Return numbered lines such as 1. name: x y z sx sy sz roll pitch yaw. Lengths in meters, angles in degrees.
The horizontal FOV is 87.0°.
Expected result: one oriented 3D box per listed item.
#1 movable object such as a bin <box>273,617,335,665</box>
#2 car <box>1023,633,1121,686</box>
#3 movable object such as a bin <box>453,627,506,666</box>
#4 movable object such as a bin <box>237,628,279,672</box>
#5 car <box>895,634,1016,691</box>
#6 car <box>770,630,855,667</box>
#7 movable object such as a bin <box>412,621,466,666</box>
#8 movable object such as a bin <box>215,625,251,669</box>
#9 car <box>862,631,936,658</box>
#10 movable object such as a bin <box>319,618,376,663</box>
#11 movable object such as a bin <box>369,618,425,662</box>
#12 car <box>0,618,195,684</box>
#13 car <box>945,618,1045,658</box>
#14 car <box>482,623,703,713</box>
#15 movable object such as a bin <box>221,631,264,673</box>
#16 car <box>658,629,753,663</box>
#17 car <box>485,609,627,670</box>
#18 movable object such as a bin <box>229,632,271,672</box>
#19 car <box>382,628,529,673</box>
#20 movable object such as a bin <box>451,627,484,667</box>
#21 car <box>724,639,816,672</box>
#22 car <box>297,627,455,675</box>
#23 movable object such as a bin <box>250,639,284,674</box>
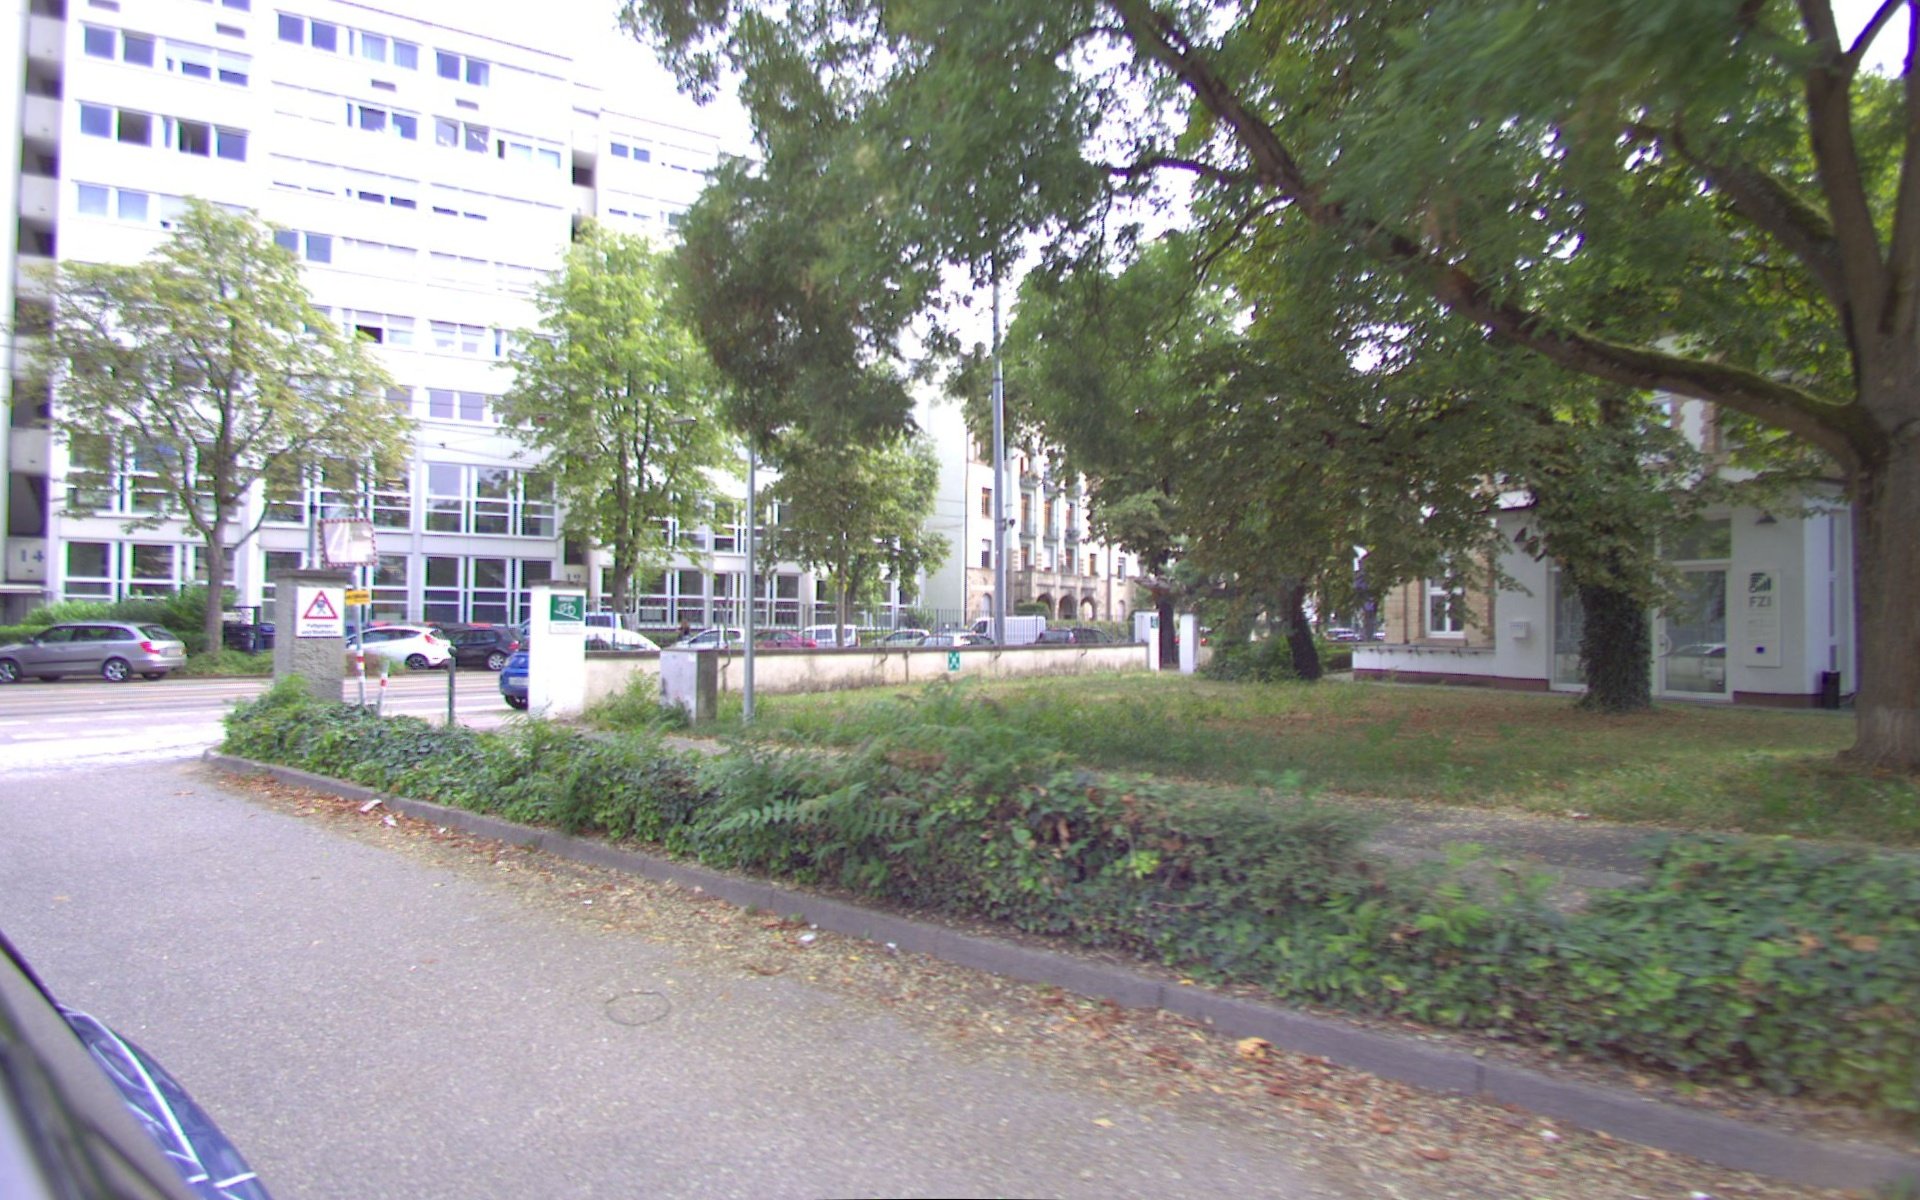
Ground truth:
1. movable object such as a bin: -21.943 1.368 33.842 1.329 1.541 1.397 -2 -3 40
2. car: 3.750 1.909 33.438 1.656 1.646 3.680 -1 -3 35
3. movable object such as a bin: -18.312 1.766 38.596 1.334 1.469 1.381 -2 -3 40
4. movable object such as a bin: -25.730 1.811 37.117 1.160 1.580 1.178 1 -3 -33
5. car: -0.067 1.702 28.168 1.630 1.476 3.531 -1 -3 35
6. car: -6.635 2.196 45.823 3.712 1.630 1.817 0 -2 -5
7. movable object such as a bin: -19.228 1.597 37.375 1.334 1.608 1.336 -2 -3 40
8. movable object such as a bin: -24.017 1.541 33.445 0.897 1.417 1.027 1 -3 -33
9. car: -3.106 2.244 51.336 3.586 1.340 1.771 0 -2 -9
10. movable object such as a bin: -21.225 1.394 35.085 1.334 1.515 1.320 -2 -3 40
11. movable object such as a bin: -20.164 1.427 36.261 1.334 1.514 1.336 -2 -3 40
12. car: -21.686 1.248 25.139 3.987 1.549 1.599 0 -2 -9
13. car: 1.915 2.136 56.946 5.356 2.192 2.151 0 -2 -5
14. car: -6.676 1.198 18.686 1.630 1.476 3.559 -1 -3 35
15. movable object such as a bin: -24.559 1.774 34.660 1.099 1.402 1.066 1 -3 -33
16. car: -10.266 1.858 41.067 3.586 1.340 1.771 0 -2 -9
17. car: -14.136 1.390 35.650 4.276 2.080 2.004 0 -2 -9
18. movable object such as a bin: -25.143 1.818 35.868 1.160 1.380 1.178 1 -3 -33
19. car: -16.408 1.654 33.090 3.908 1.398 1.818 0 -4 -9
20. movable object such as a bin: -19.775 1.875 40.620 1.154 1.580 1.184 1 -2 -26
21. car: -8.110 2.359 43.421 3.712 1.349 1.817 0 -2 -5
22. car: -17.579 1.521 30.610 3.799 1.403 1.637 1 -2 -10
23. movable object such as a bin: -22.385 1.818 32.694 0.786 1.114 0.733 -2 -3 42
